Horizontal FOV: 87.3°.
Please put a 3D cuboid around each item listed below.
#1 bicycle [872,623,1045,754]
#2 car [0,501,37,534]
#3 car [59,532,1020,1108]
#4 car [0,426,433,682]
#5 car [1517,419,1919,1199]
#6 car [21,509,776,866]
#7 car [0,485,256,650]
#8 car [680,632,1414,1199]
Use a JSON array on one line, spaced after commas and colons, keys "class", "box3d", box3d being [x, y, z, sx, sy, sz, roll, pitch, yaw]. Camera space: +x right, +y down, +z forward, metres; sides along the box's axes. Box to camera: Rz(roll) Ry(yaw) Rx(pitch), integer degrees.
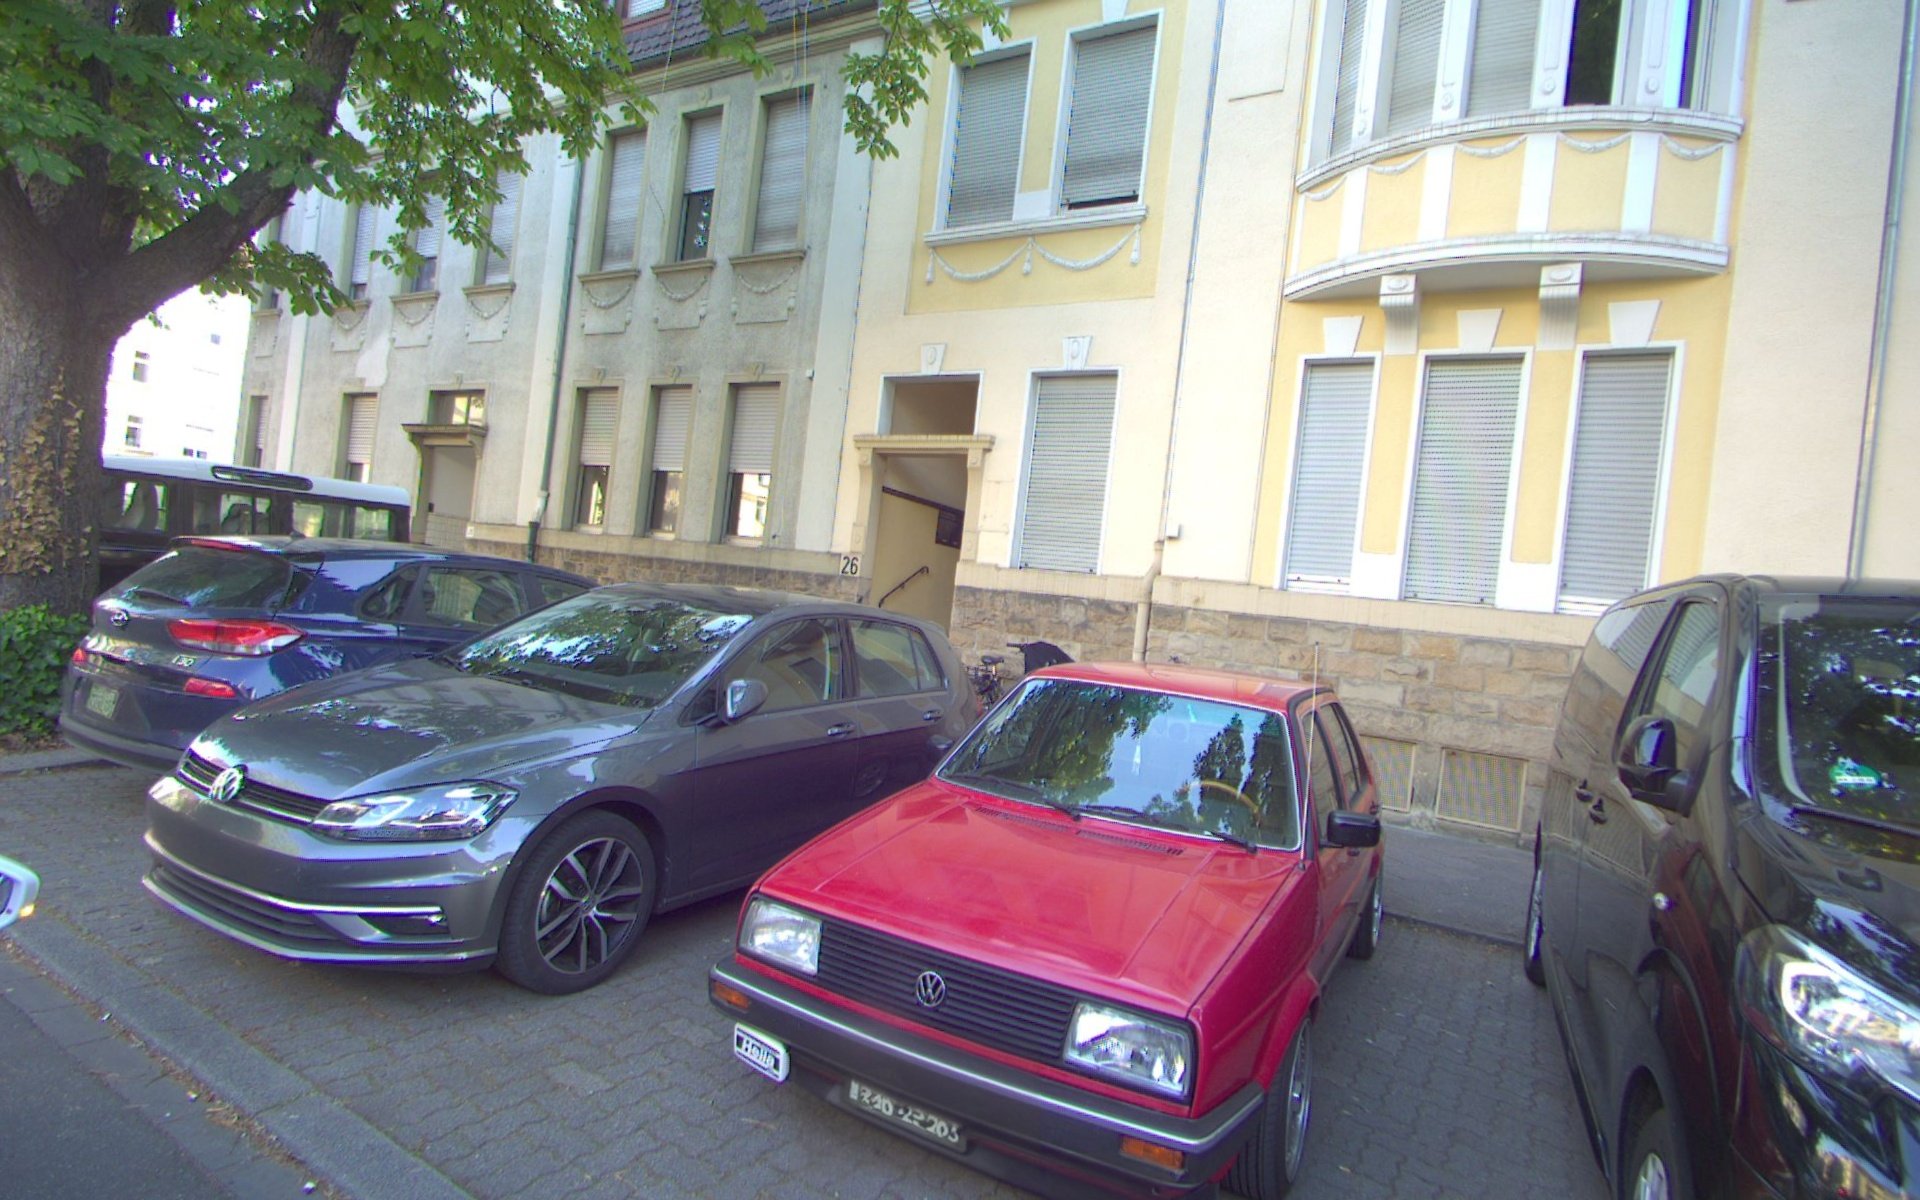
[{"class": "bicycle", "box3d": [-0.036, 0.880, 10.395, 1.675, 1.090, 0.500, 7, 2, 31]}, {"class": "car", "box3d": [-36.288, -3.223, 36.830, 1.357, 1.081, 3.370, 7, -1, 30]}, {"class": "car", "box3d": [-1.357, 0.652, 4.812, 1.600, 1.440, 4.054, 6, 0, 29]}, {"class": "car", "box3d": [-7.607, -0.377, 9.313, 1.762, 1.981, 4.496, 7, 1, 29]}, {"class": "car", "box3d": [2.893, 0.892, 2.948, 1.848, 1.847, 4.829, 6, 0, 27]}, {"class": "car", "box3d": [-3.028, 0.421, 6.253, 1.600, 1.440, 3.754, 6, 0, 29]}, {"class": "car", "box3d": [-9.942, -0.382, 10.769, 1.680, 1.606, 3.488, 7, 0, 25]}, {"class": "car", "box3d": [0.850, 0.915, 4.227, 1.532, 1.337, 3.916, 6, 0, 29]}]
